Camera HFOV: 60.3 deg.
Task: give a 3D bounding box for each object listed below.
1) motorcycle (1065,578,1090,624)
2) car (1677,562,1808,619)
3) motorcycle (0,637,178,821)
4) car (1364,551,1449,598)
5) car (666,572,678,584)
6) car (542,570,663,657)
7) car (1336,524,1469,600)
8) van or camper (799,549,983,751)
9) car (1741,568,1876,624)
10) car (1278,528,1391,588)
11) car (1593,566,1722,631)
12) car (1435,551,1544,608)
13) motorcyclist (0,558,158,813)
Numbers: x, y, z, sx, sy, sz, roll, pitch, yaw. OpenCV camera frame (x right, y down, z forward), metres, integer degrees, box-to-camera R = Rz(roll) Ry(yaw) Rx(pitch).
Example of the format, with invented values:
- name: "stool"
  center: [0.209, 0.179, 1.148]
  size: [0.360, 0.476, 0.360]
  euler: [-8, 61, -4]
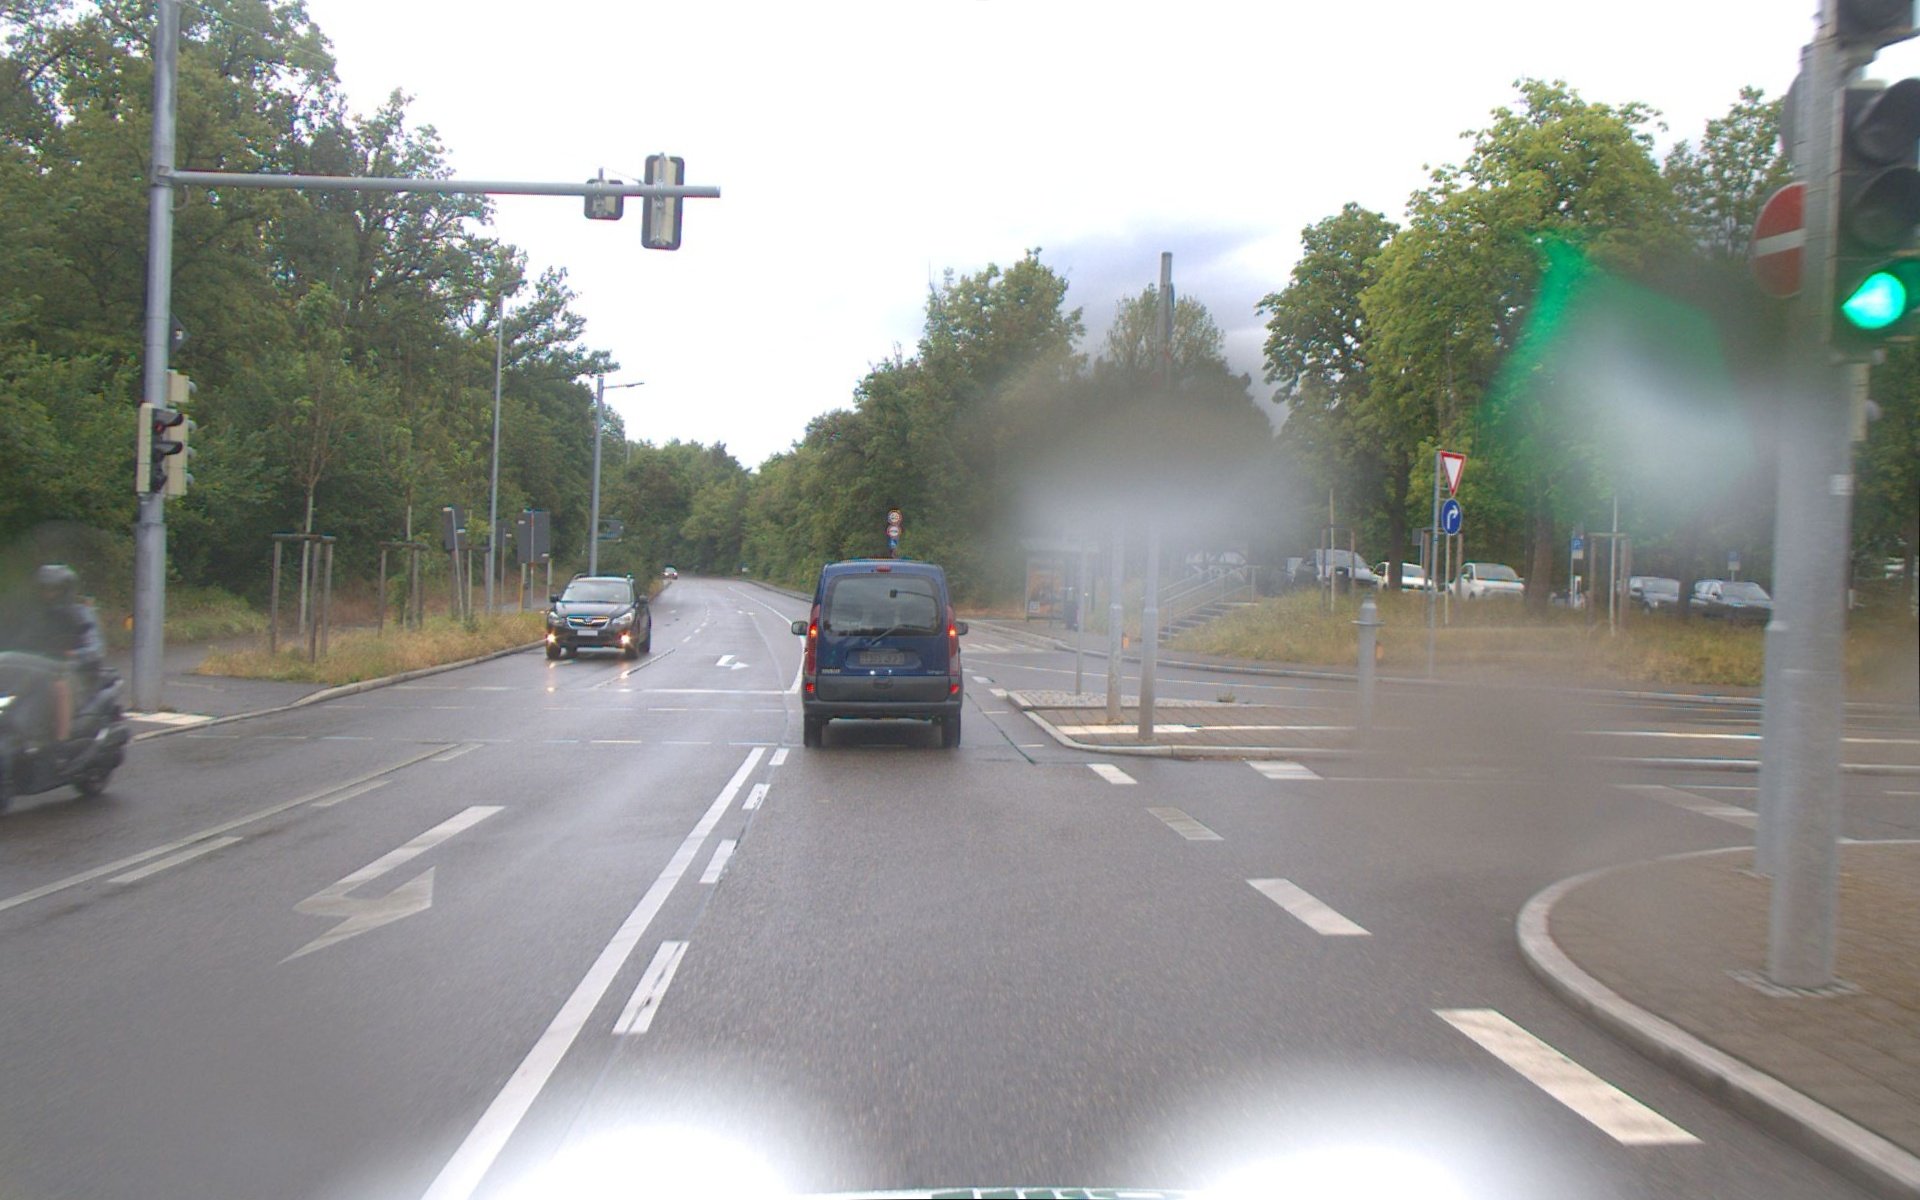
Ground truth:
- name: "motorcycle"
  center: [3.443, 0.014, 48.271]
  size: [0.576, 1.311, 1.539]
  euler: [1, 1, 8]
- name: "car"
  center: [22.790, -0.267, 48.341]
  size: [1.847, 1.505, 4.068]
  euler: [2, 0, 0]
- name: "motorcycle"
  center: [-6.085, 0.824, 11.300]
  size: [0.582, 1.069, 1.998]
  euler: [1, 1, -2]
- name: "car"
  center: [15.994, -0.886, 59.427]
  size: [1.847, 1.505, 4.068]
  euler: [4, 0, 0]
- name: "car"
  center: [-37.054, -2.849, 212.861]
  size: [1.570, 1.466, 3.982]
  euler: [0, 1, -10]
- name: "car"
  center: [-7.132, 0.216, 33.414]
  size: [1.754, 1.609, 4.557]
  euler: [1, 1, -5]
- name: "car"
  center: [11.299, -0.982, 42.563]
  size: [1.955, 1.690, 3.996]
  euler: [4, 1, -5]
- name: "van or camper"
  center: [-0.848, 0.452, 17.776]
  size: [1.679, 1.857, 3.995]
  euler: [3, 0, -6]
- name: "car"
  center: [25.550, -0.111, 49.947]
  size: [1.848, 1.505, 4.067]
  euler: [4, 0, -2]
- name: "car"
  center: [10.886, -1.188, 48.414]
  size: [1.955, 1.505, 4.280]
  euler: [4, 0, -5]
- name: "car"
  center: [20.682, -0.087, 49.223]
  size: [1.954, 1.690, 3.999]
  euler: [5, 1, -1]
- name: "car"
  center: [15.700, -0.579, 49.239]
  size: [1.847, 1.505, 4.068]
  euler: [4, 0, 0]
- name: "motorcyclist"
  center: [-6.053, 0.552, 11.255]
  size: [0.730, 1.660, 0.927]
  euler: [1, 0, -2]
